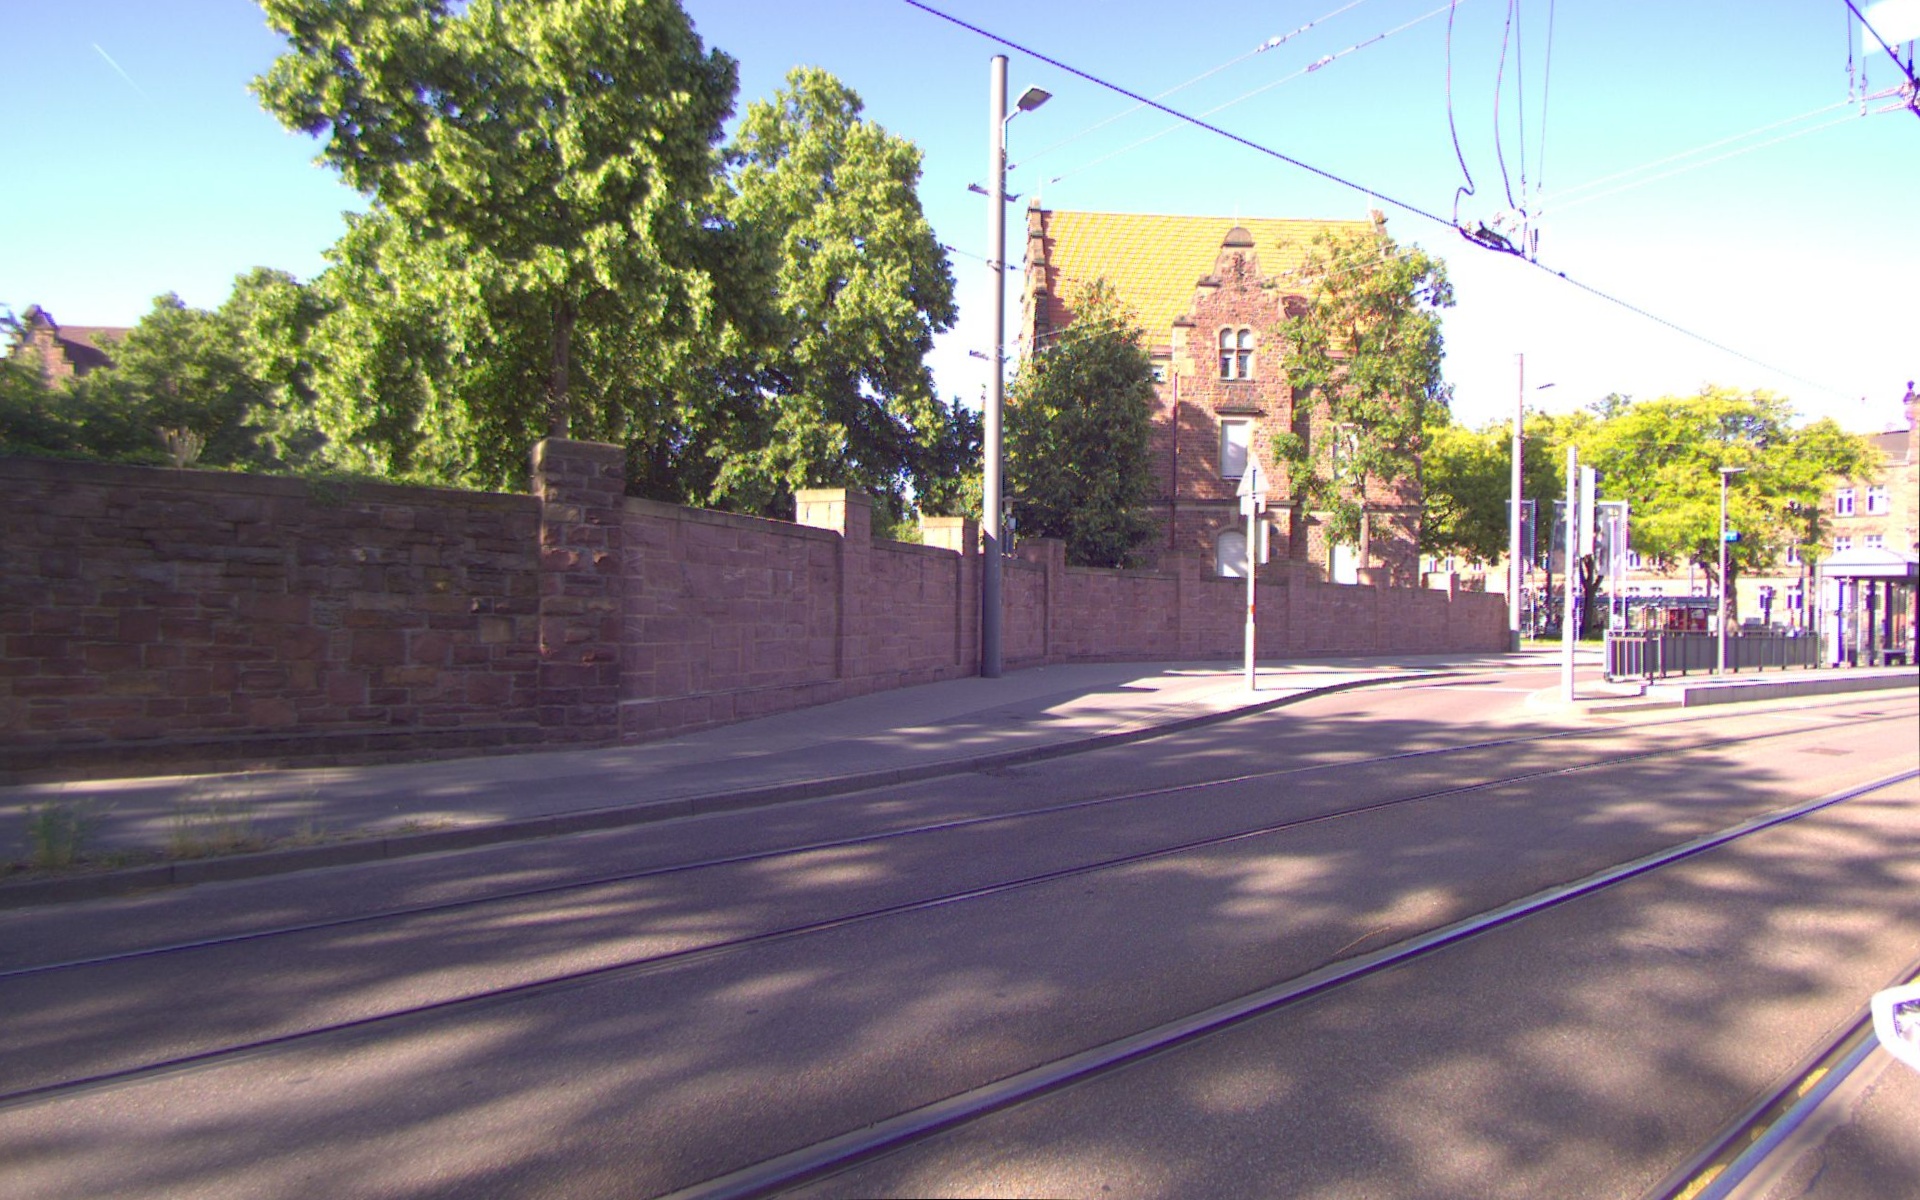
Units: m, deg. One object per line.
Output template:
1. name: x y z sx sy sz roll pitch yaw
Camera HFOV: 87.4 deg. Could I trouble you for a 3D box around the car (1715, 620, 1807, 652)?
1. car: 48.212 2.158 60.492 1.981 1.813 3.960 2 -1 -35
